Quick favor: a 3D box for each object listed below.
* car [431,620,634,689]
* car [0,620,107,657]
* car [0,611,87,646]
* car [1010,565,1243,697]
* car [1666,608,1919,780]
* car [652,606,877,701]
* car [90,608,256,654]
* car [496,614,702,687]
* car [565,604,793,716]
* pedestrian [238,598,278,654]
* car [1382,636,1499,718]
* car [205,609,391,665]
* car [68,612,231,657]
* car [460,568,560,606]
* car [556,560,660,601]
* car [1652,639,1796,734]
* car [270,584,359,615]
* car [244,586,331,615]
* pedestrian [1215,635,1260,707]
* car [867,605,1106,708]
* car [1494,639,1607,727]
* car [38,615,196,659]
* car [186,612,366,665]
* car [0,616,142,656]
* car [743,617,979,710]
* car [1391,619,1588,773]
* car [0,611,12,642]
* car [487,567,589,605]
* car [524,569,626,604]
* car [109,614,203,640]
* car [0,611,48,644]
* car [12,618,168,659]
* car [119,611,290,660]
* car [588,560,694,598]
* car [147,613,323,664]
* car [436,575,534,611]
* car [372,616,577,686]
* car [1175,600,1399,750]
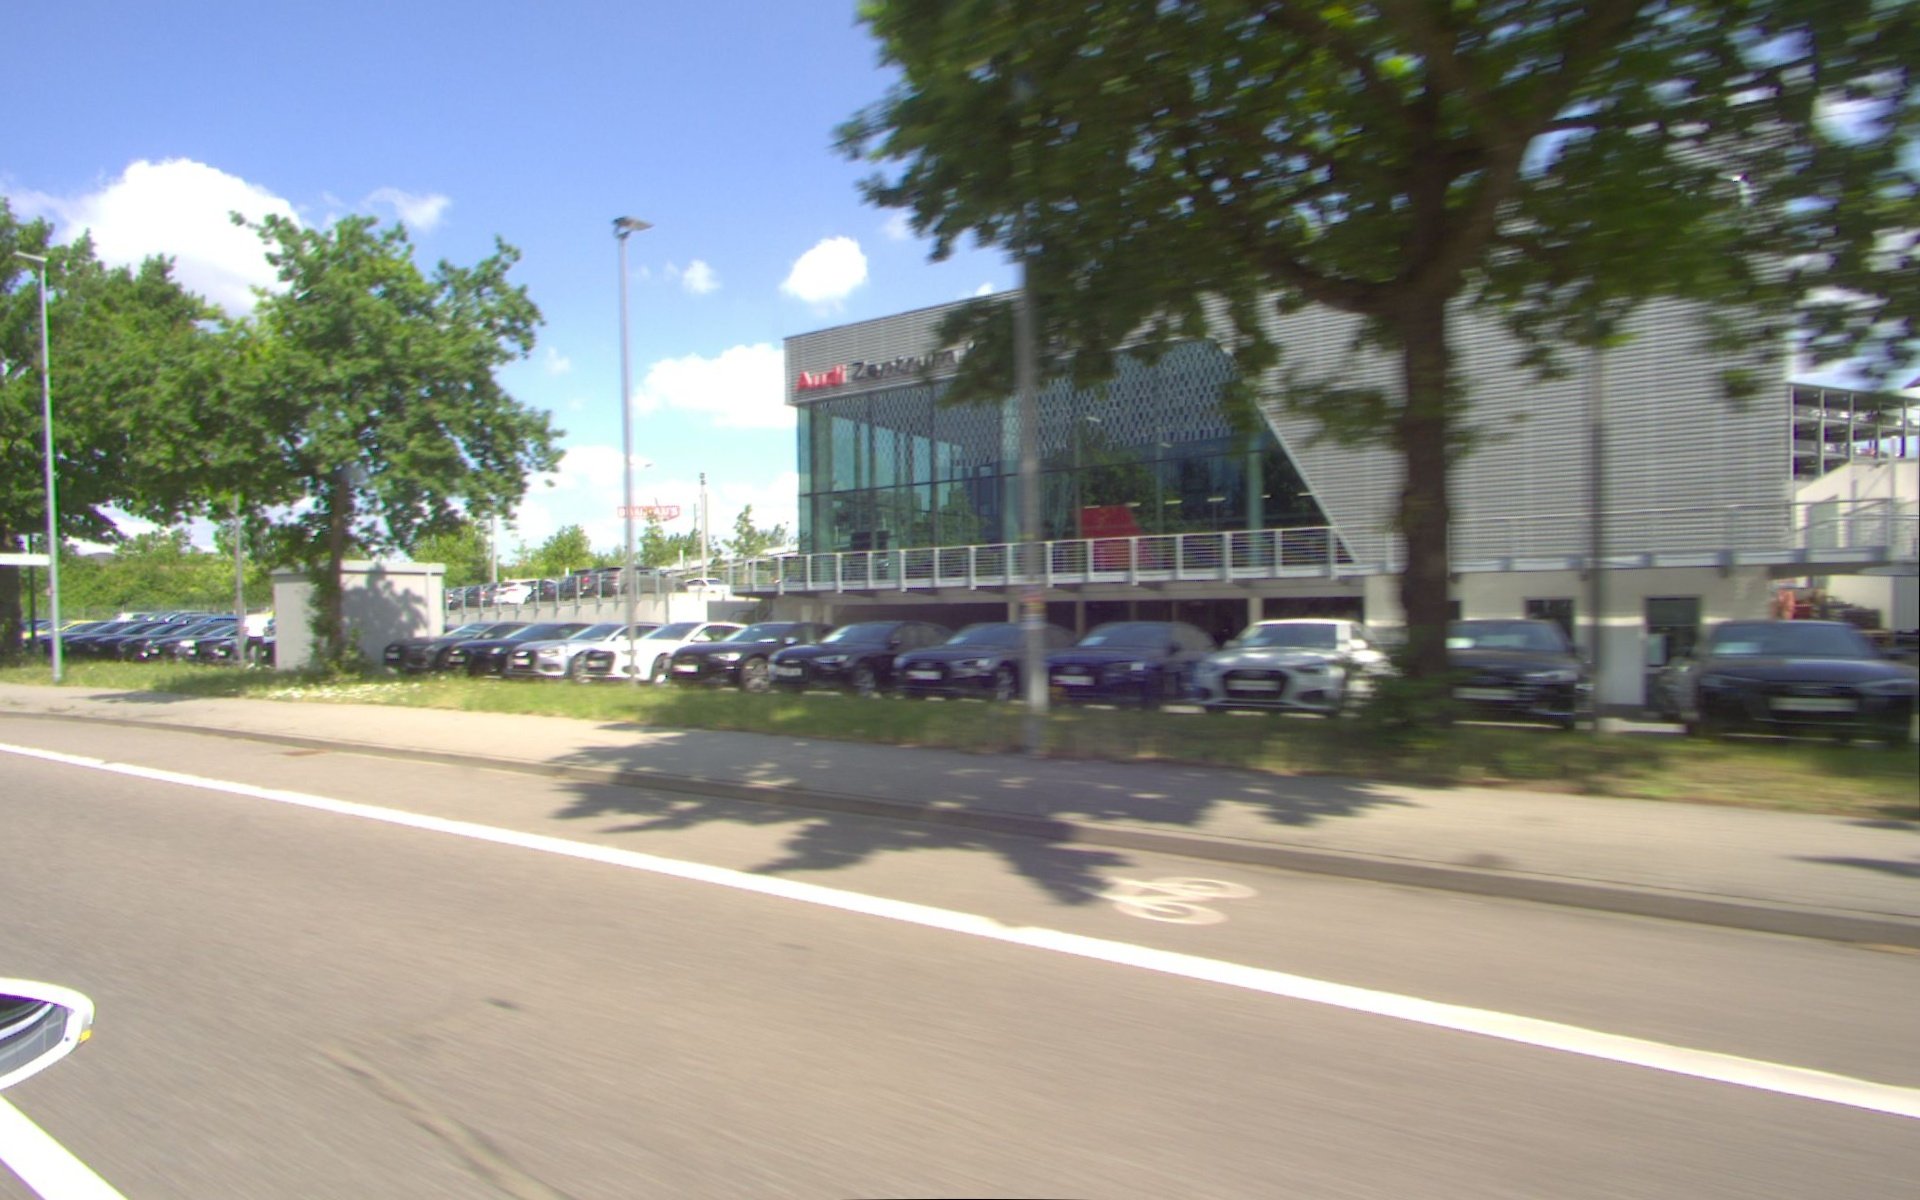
[{"bbox_3d":[-9.953,1.202,23.598,1.829,1.464,4.098,0,-1,33],"label":"car"},{"bbox_3d":[-40.899,1.680,44.392,1.907,1.533,4.348,1,0,31],"label":"car"},{"bbox_3d":[-43.388,1.286,46.171,1.907,1.533,4.348,1,0,31],"label":"car"},{"bbox_3d":[2.712,0.419,15.353,1.879,1.700,4.566,1,0,32],"label":"car"},{"bbox_3d":[9.311,0.882,11.364,1.880,1.518,4.565,-1,0,32],"label":"car"},{"bbox_3d":[-3.679,1.106,19.635,1.760,1.530,4.345,1,-5,32],"label":"car"},{"bbox_3d":[-28.272,1.086,36.110,1.907,1.533,4.348,1,0,31],"label":"car"},{"bbox_3d":[-7.953,1.048,22.416,1.792,1.422,4.098,-1,0,32],"label":"car"},{"bbox_3d":[-5.813,1.178,21.288,1.879,2.076,4.566,1,0,32],"label":"car"},{"bbox_3d":[-19.043,0.708,27.177,0.761,1.479,0.632,2,1,32],"label":"pedestrian"},{"bbox_3d":[10.879,1.625,22.523,1.880,1.518,4.337,-1,0,32],"label":"car"},{"bbox_3d":[-20.010,1.068,30.455,1.907,1.533,4.348,1,0,31],"label":"car"},{"bbox_3d":[-30.054,1.235,37.253,1.907,1.533,4.348,1,0,31],"label":"car"},{"bbox_3d":[-23.168,-0.652,51.668,1.910,1.798,4.342,1,0,36],"label":"car"},{"bbox_3d":[-16.568,-0.880,47.320,1.910,1.798,4.342,1,0,36],"label":"car"},{"bbox_3d":[15.102,1.624,20.014,1.880,1.518,4.337,-1,0,32],"label":"car"},{"bbox_3d":[-40.596,-0.018,63.047,1.910,1.798,4.342,1,0,36],"label":"car"},{"bbox_3d":[-44.283,0.040,65.999,1.910,1.798,4.342,1,0,36],"label":"car"},{"bbox_3d":[7.185,1.819,25.886,0.773,1.797,0.815,1,1,-45],"label":"pedestrian"},{"bbox_3d":[0.603,0.837,16.598,1.879,1.423,4.566,1,0,32],"label":"car"},{"bbox_3d":[12.563,1.656,21.240,1.880,1.518,4.337,-1,0,32],"label":"car"},{"bbox_3d":[-32.741,1.394,39.009,1.907,1.533,4.348,1,0,31],"label":"car"},{"bbox_3d":[-21.669,1.174,31.899,1.907,1.533,4.348,1,0,31],"label":"car"},{"bbox_3d":[-36.739,1.434,41.233,1.907,1.533,4.348,1,0,31],"label":"car"},{"bbox_3d":[-1.637,1.043,18.244,1.879,1.423,4.566,1,0,32],"label":"car"},{"bbox_3d":[6.880,1.042,12.747,1.880,1.518,4.565,-1,0,32],"label":"car"},{"bbox_3d":[-50.753,1.337,50.213,1.907,1.533,4.348,1,0,31],"label":"car"},{"bbox_3d":[-21.082,-0.671,50.168,1.910,1.798,4.342,1,0,36],"label":"car"},{"bbox_3d":[-18.776,-0.613,49.008,1.910,1.572,4.342,1,0,36],"label":"car"},{"bbox_3d":[-51.363,1.710,64.038,1.880,1.518,4.337,-1,0,32],"label":"car"},{"bbox_3d":[-45.914,1.281,46.951,1.907,1.533,4.348,1,0,31],"label":"car"},{"bbox_3d":[-34.794,1.495,40.165,1.907,1.533,4.348,1,0,31],"label":"car"},{"bbox_3d":[-25.997,1.192,34.608,1.907,1.533,4.348,1,0,31],"label":"car"},{"bbox_3d":[-14.583,-0.931,45.994,1.910,1.572,4.342,1,0,36],"label":"car"},{"bbox_3d":[-23.955,1.233,33.238,1.907,1.533,4.348,1,0,31],"label":"car"},{"bbox_3d":[-25.254,-0.326,53.357,1.910,1.798,4.342,1,0,36],"label":"car"},{"bbox_3d":[-12.085,1.219,25.208,1.829,1.533,4.344,-1,0,33],"label":"car"},{"bbox_3d":[4.722,0.900,13.980,1.879,1.700,4.566,1,0,32],"label":"car"}]
